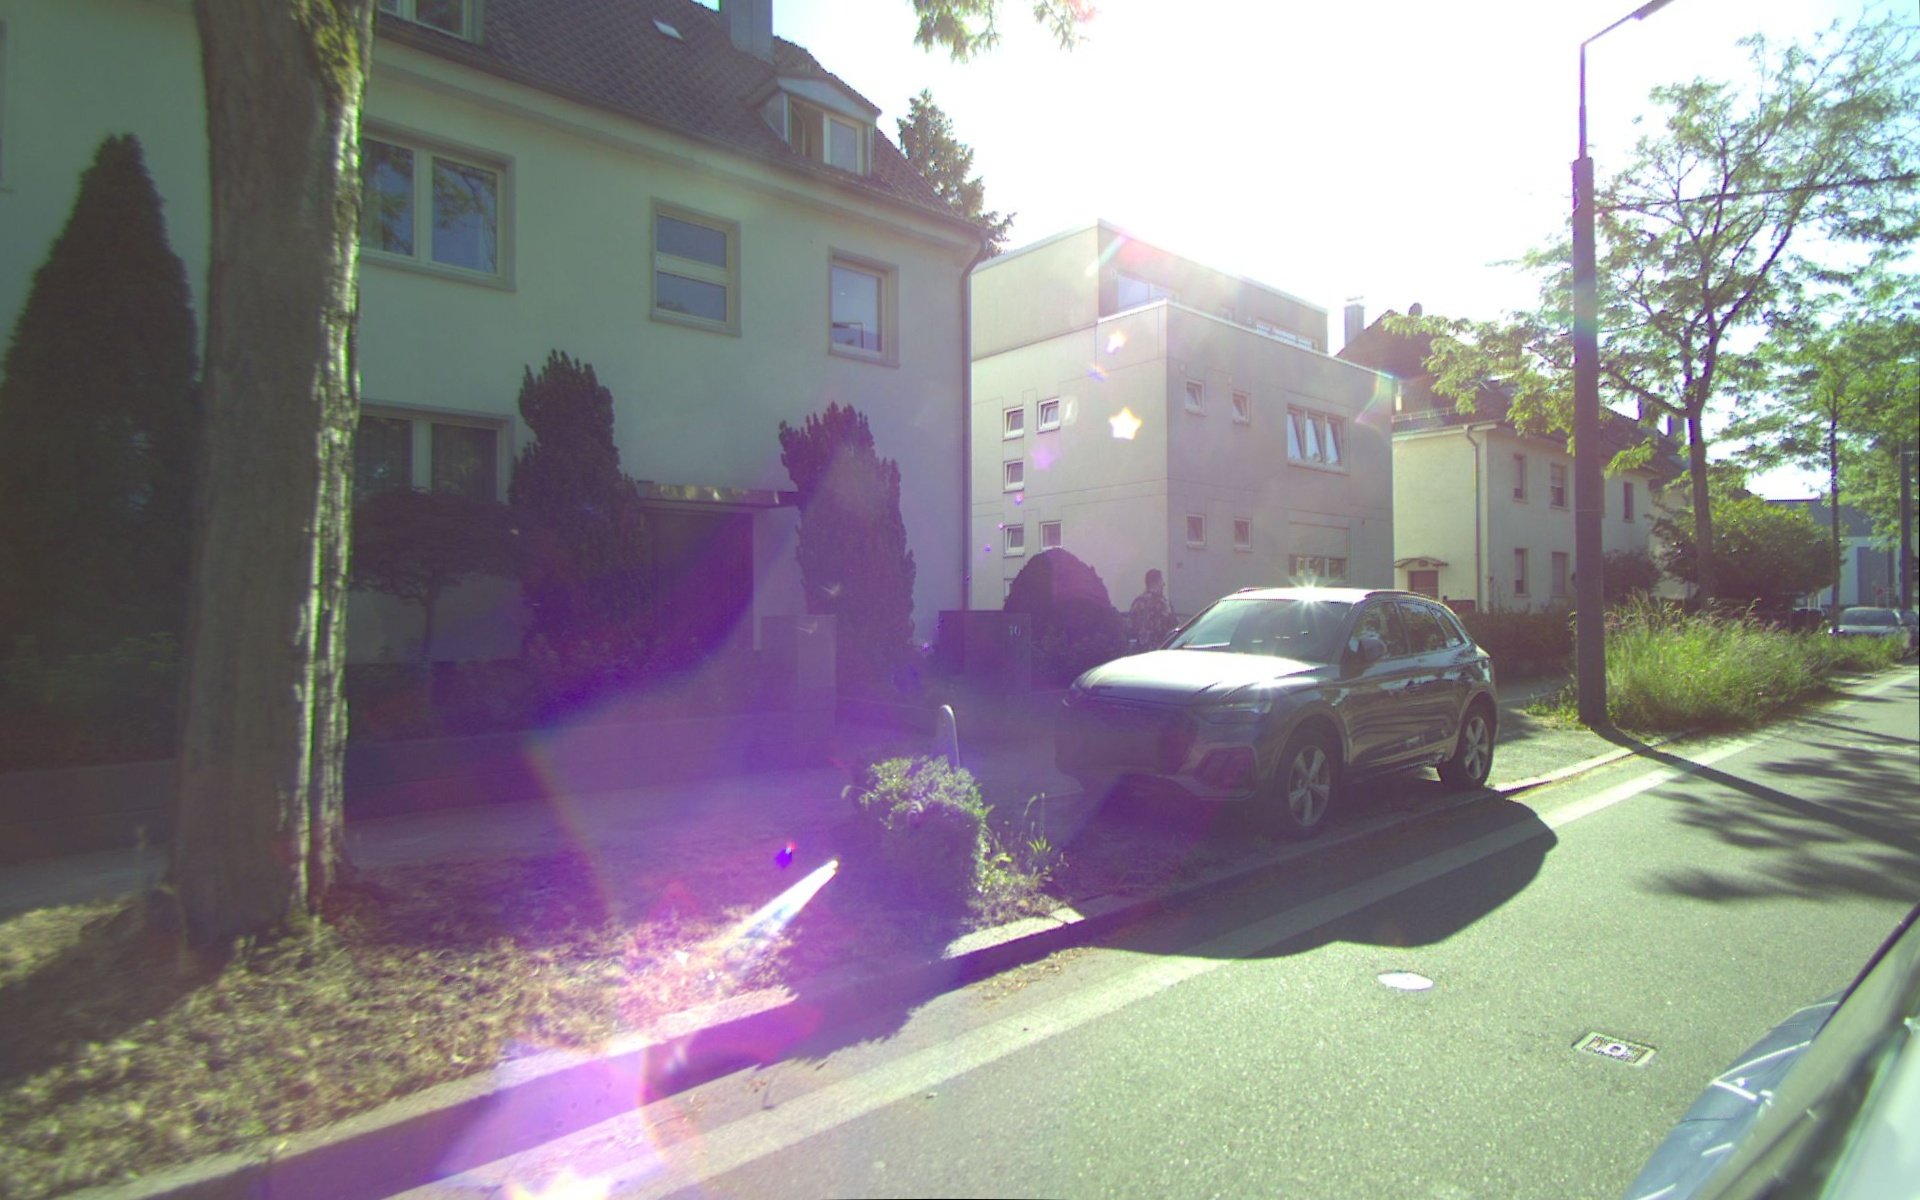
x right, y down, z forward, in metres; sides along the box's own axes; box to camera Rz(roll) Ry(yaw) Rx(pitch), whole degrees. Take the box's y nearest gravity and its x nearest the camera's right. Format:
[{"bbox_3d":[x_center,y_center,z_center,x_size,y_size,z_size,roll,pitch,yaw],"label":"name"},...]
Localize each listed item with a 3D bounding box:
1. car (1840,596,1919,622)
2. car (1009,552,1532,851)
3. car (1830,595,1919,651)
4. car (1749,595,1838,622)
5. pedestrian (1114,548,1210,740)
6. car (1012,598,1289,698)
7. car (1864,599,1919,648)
[{"bbox_3d":[58.216,0.553,63.125,1.942,1.484,4.623,-2,1,-28],"label":"car"},{"bbox_3d":[2.672,0.561,8.115,4.400,1.725,1.997,0,2,-42],"label":"car"},{"bbox_3d":[26.755,0.614,29.369,3.927,1.514,1.751,0,0,-41],"label":"car"},{"bbox_3d":[53.833,0.555,65.407,1.948,1.663,4.167,0,-1,-42],"label":"car"},{"bbox_3d":[2.089,0.424,10.468,0.719,1.893,0.626,1,2,-42],"label":"pedestrian"},{"bbox_3d":[2.874,0.667,15.940,1.844,1.360,4.058,0,-1,-40],"label":"car"},{"bbox_3d":[31.230,0.731,33.261,4.366,1.514,1.751,0,0,-41],"label":"car"}]
